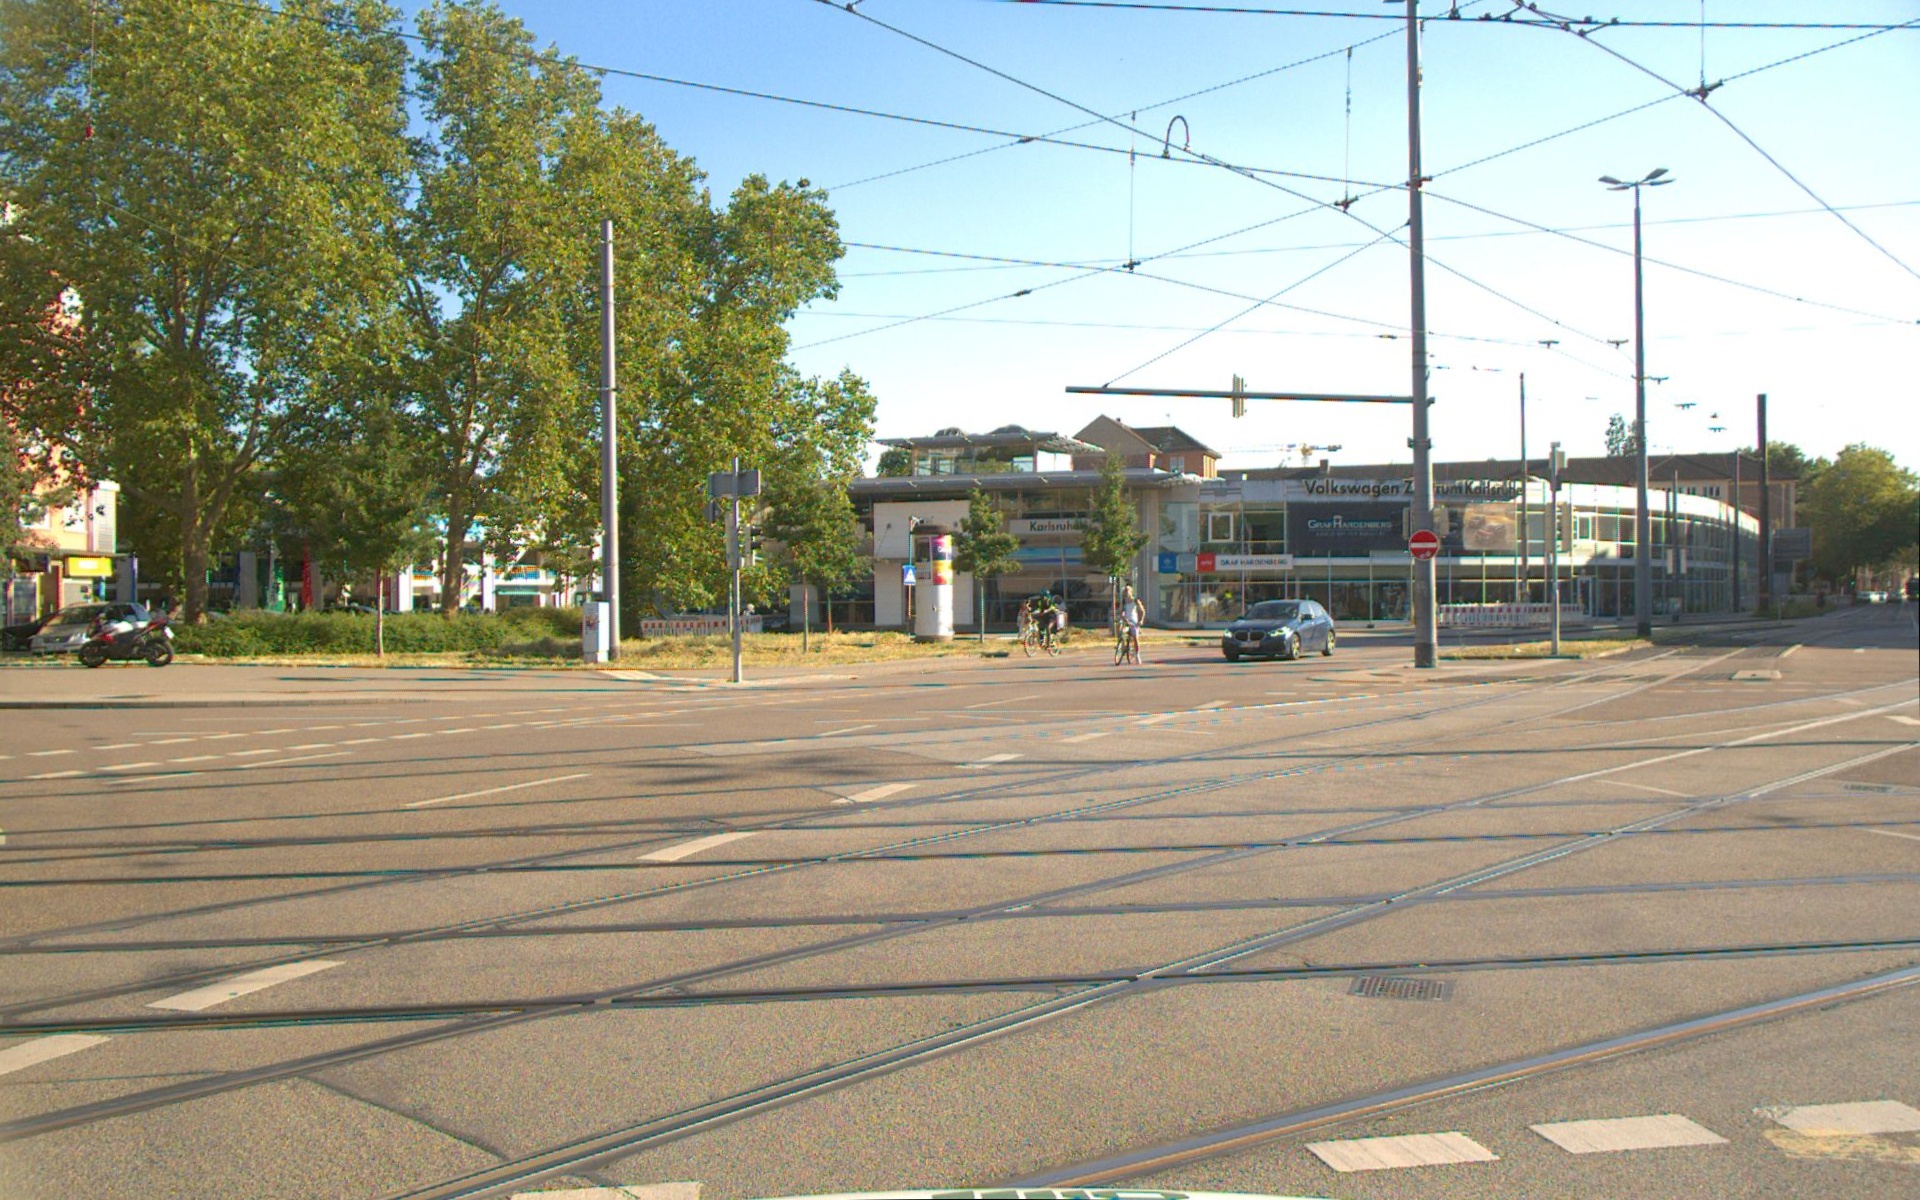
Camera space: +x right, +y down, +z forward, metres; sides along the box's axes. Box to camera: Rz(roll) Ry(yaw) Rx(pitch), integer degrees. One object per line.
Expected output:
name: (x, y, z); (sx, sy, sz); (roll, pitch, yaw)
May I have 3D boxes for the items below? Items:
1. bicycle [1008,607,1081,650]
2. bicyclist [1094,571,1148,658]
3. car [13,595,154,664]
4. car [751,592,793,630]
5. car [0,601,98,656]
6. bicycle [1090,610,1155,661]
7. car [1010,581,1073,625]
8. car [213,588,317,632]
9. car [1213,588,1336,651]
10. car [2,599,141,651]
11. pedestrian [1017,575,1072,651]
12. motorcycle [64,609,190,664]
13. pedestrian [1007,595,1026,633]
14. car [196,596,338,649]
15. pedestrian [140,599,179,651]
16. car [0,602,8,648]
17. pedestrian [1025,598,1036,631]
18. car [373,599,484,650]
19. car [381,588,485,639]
bicycle: (2.394, 0.782, 46.434); (1.012, 1.143, 2.526); (3, 1, 30)
bicyclist: (3.912, 0.345, 40.043); (1.009, 2.049, 1.145); (-2, -1, 19)
car: (-25.027, 0.812, 47.398); (1.877, 1.727, 4.000); (-3, 1, -1)
car: (-9.759, 0.550, 85.570); (1.762, 1.535, 3.992); (2, 5, -11)
car: (-31.495, 0.942, 55.720); (3.906, 1.663, 1.856); (2, 1, -1)
bicycle: (3.965, 0.857, 40.151); (1.009, 1.143, 2.532); (-2, 0, 18)
car: (4.048, 0.143, 81.500); (1.952, 2.048, 4.001); (2, 1, 19)
car: (-31.933, 0.443, 76.057); (3.906, 1.811, 1.856); (2, 1, -1)
car: (7.840, 0.455, 40.967); (1.955, 1.478, 3.995); (0, 0, 27)
car: (-31.646, 0.875, 58.983); (3.906, 1.663, 1.856); (2, 1, -1)
pedestrian: (2.372, 0.356, 46.381); (1.012, 2.048, 1.268); (2, 1, 30)
motorcycle: (-17.867, 0.767, 35.541); (2.238, 1.092, 1.036); (0, 1, -17)
pedestrian: (2.304, 0.558, 67.460); (0.706, 1.542, 0.832); (0, 0, 7)
car: (-21.168, 0.682, 50.673); (3.932, 1.536, 1.788); (0, 1, -23)
pedestrian: (-28.079, 0.873, 58.053); (0.866, 1.767, 0.904); (2, 1, 1)
car: (-32.172, 0.739, 51.494); (3.906, 1.444, 1.856); (2, 1, -1)
pedestrian: (2.882, 0.580, 67.387); (0.402, 1.338, 0.573); (0, 0, 7)
car: (-21.627, 0.993, 67.381); (3.908, 1.901, 1.855); (2, 1, -3)
car: (-23.119, 0.573, 72.640); (3.908, 2.034, 1.855); (2, 1, -3)
